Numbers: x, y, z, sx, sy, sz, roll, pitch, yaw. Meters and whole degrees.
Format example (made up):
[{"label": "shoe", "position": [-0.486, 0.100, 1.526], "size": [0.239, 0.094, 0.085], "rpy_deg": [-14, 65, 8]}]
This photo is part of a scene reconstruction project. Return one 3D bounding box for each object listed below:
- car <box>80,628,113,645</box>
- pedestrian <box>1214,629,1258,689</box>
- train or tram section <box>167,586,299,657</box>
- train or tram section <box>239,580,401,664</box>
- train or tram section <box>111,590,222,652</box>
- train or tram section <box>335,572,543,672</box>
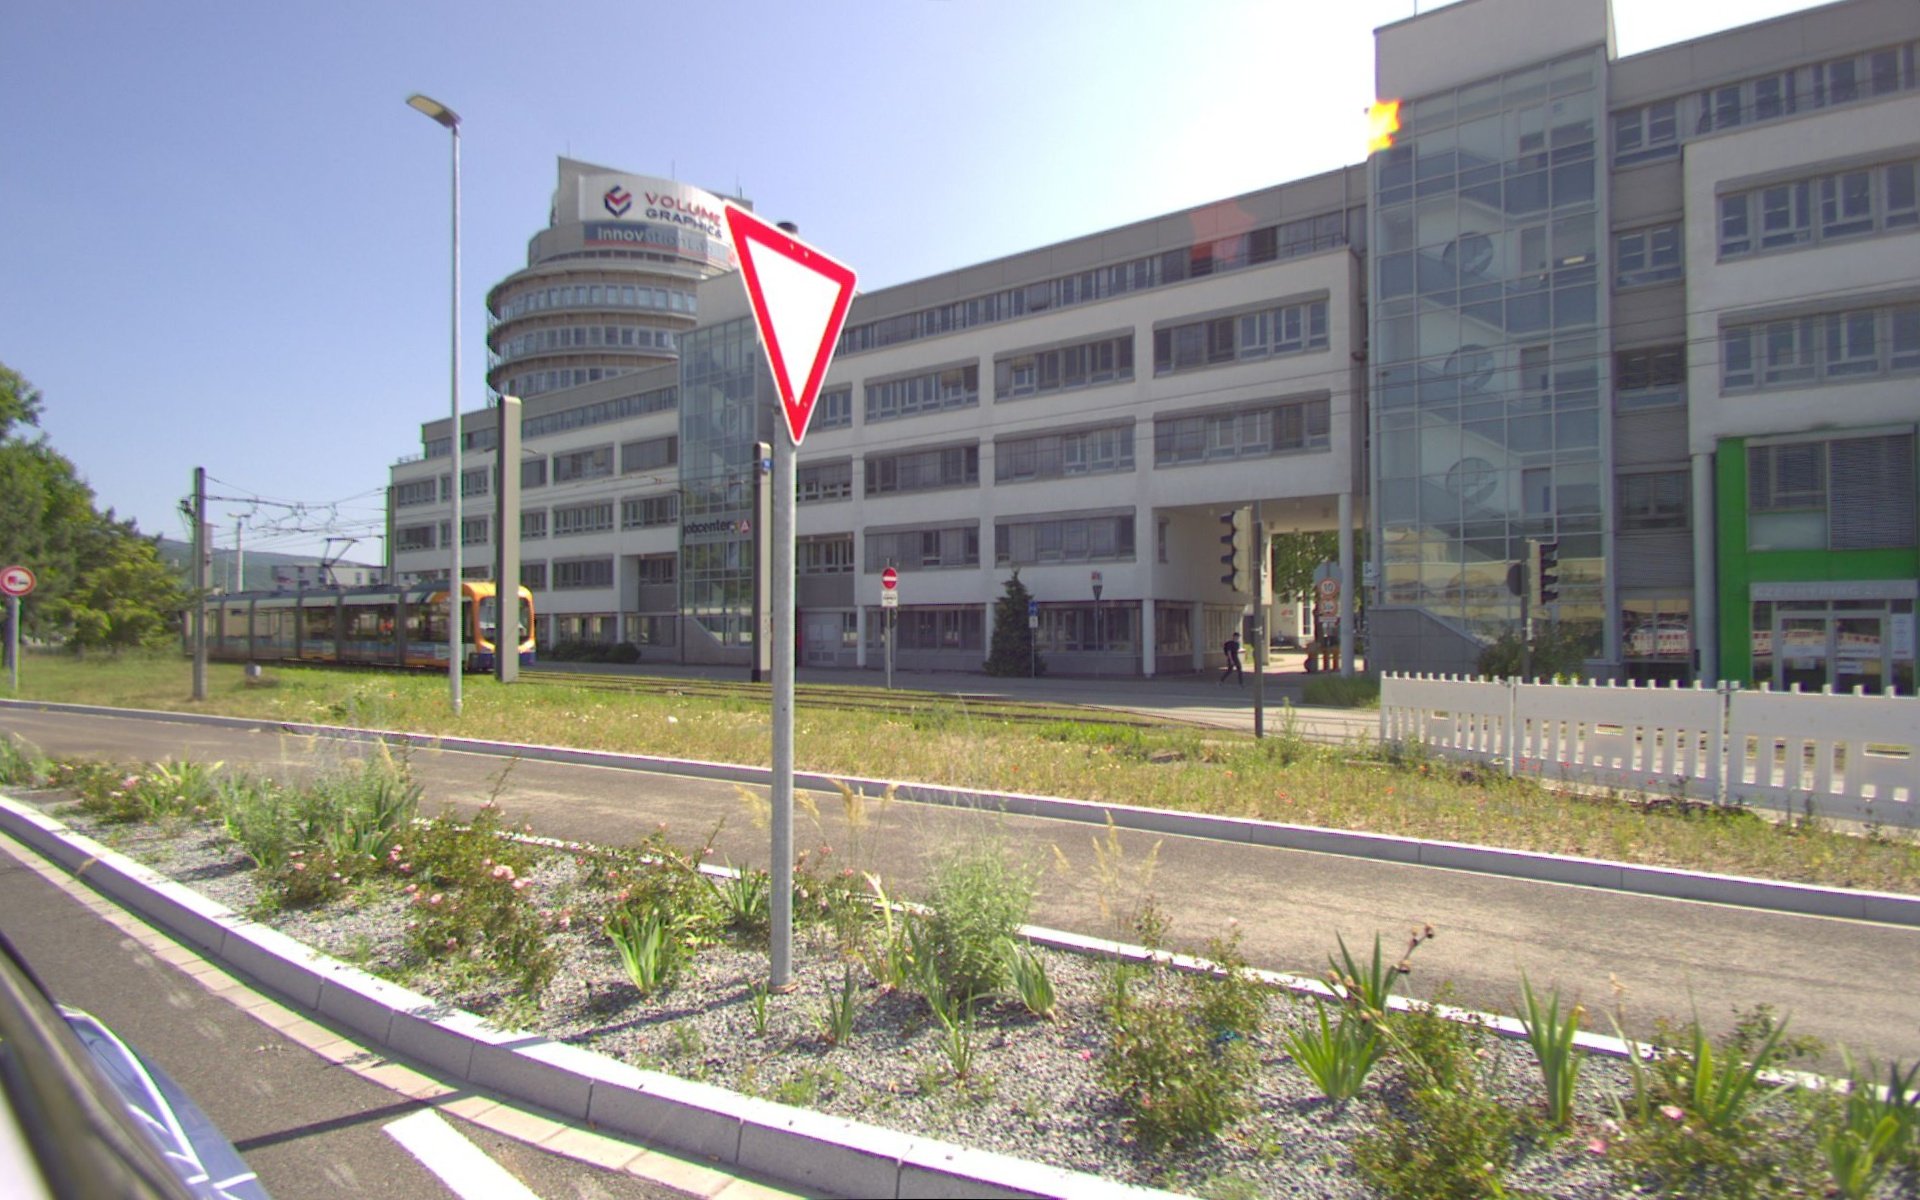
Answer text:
[{"label": "car", "position": [-83.379, 3.473, 97.668], "size": [3.801, 1.513, 1.867], "rpy_deg": [0, 0, 41]}, {"label": "pedestrian", "position": [8.799, 1.868, 32.311], "size": [1.106, 1.840, 0.758], "rpy_deg": [-2, 0, 36]}, {"label": "train or tram section", "position": [-39.159, 1.113, 54.264], "size": [11.765, 3.477, 2.599], "rpy_deg": [-1, 0, 38]}, {"label": "train or tram section", "position": [-29.917, 0.977, 46.970], "size": [11.765, 3.477, 2.599], "rpy_deg": [-1, 0, 38]}, {"label": "train or tram section", "position": [-48.441, 1.249, 61.613], "size": [11.765, 3.477, 2.599], "rpy_deg": [-1, 0, 38]}, {"label": "train or tram section", "position": [-20.696, 0.824, 39.673], "size": [11.765, 3.477, 2.599], "rpy_deg": [-1, 0, 38]}]
